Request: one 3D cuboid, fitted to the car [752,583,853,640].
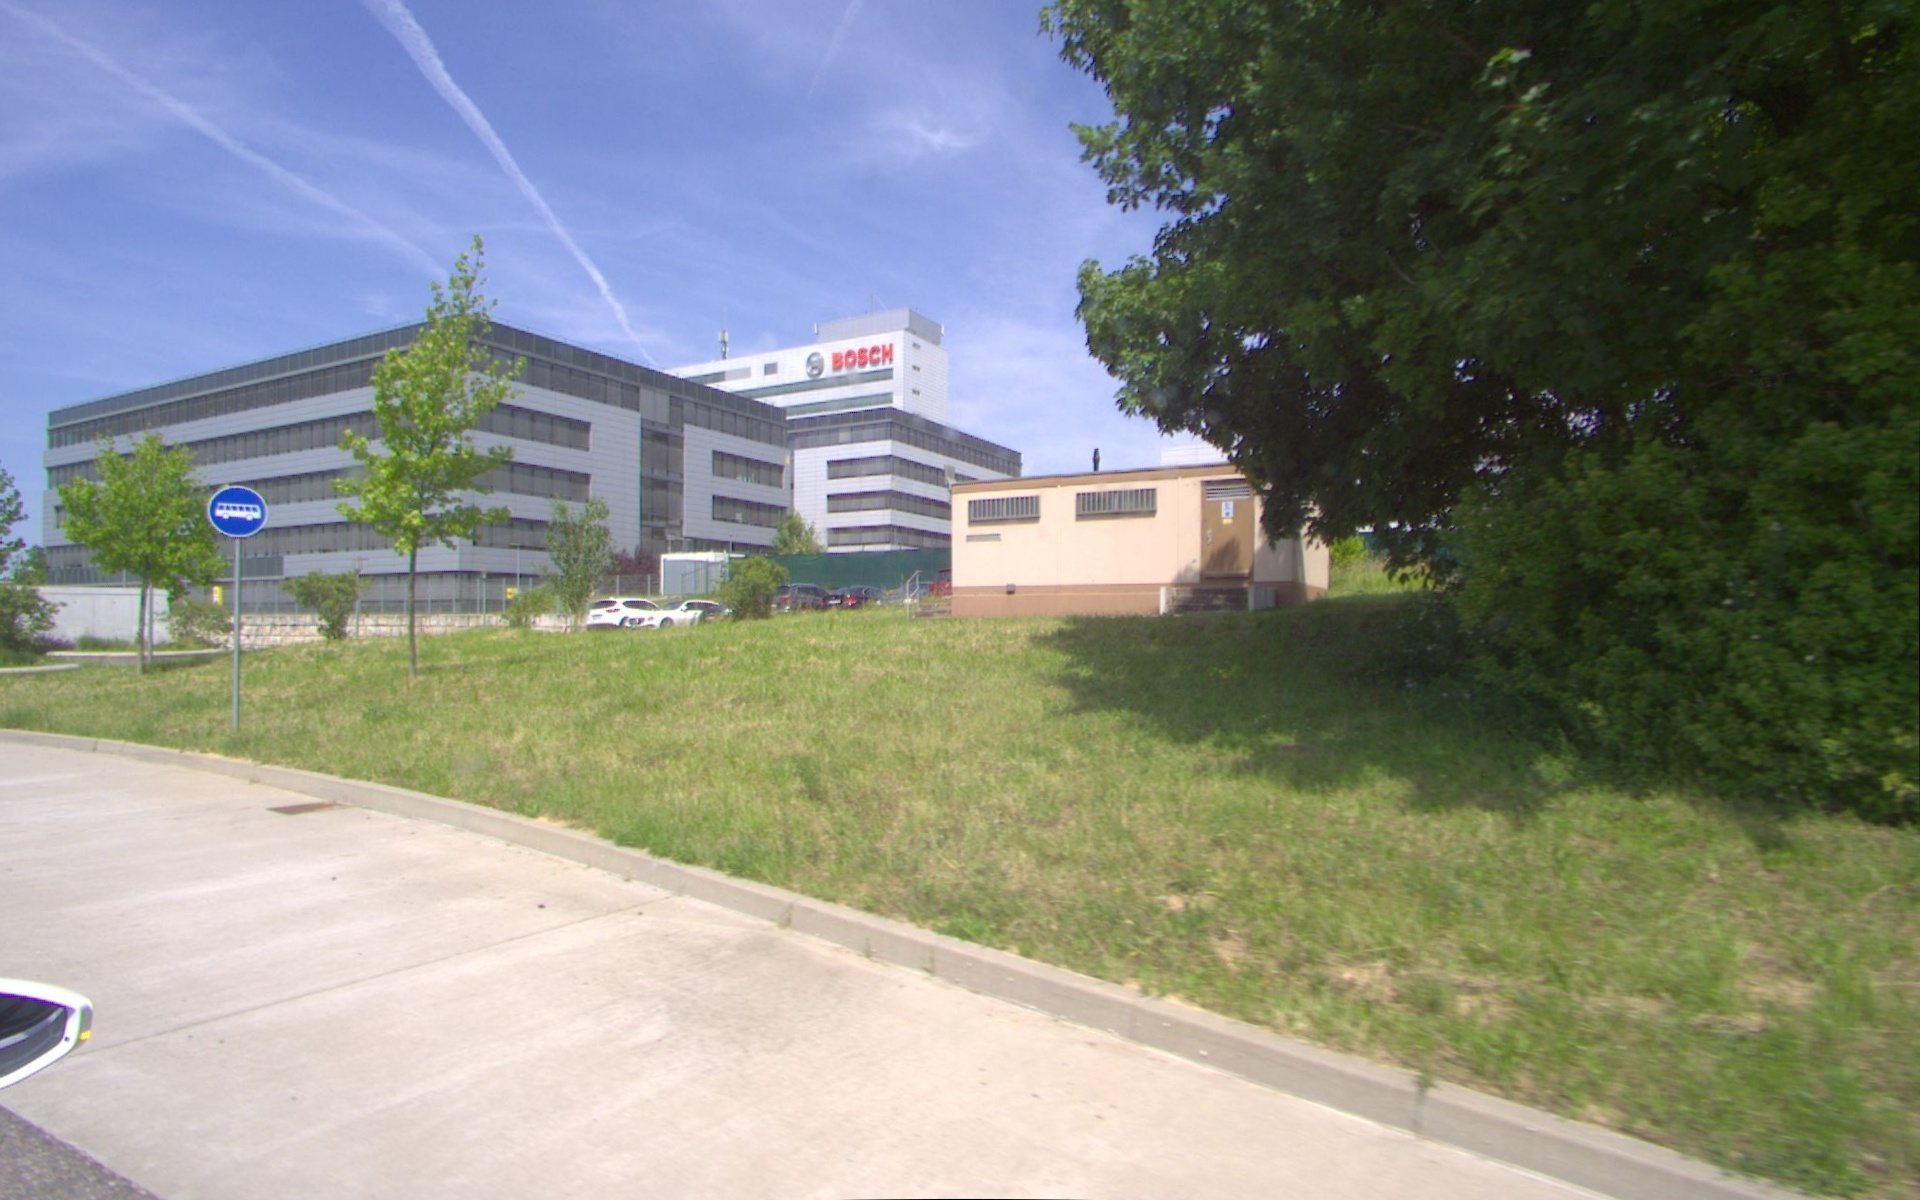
[{"bbox_3d":[-5.914,0.394,38.112,1.729,1.947,3.982,-2,2,27],"label":"car"}]

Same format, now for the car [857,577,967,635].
[{"bbox_3d":[-1.623,0.172,35.683,1.947,1.838,4.348,-2,1,27],"label":"car"}]

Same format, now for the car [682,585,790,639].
[{"bbox_3d":[-8.635,0.432,38.904,1.947,1.838,3.982,-2,1,27],"label":"car"}]

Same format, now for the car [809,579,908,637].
[{"bbox_3d":[-3.718,0.260,37.247,1.729,1.947,3.982,-2,2,27],"label":"car"}]

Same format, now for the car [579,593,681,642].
[{"bbox_3d":[-13.971,0.697,42.629,1.729,1.838,3.982,-2,2,27],"label":"car"}]

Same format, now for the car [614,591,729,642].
[{"bbox_3d":[-11.792,0.634,41.261,1.947,1.790,4.545,-2,1,27],"label":"car"}]
